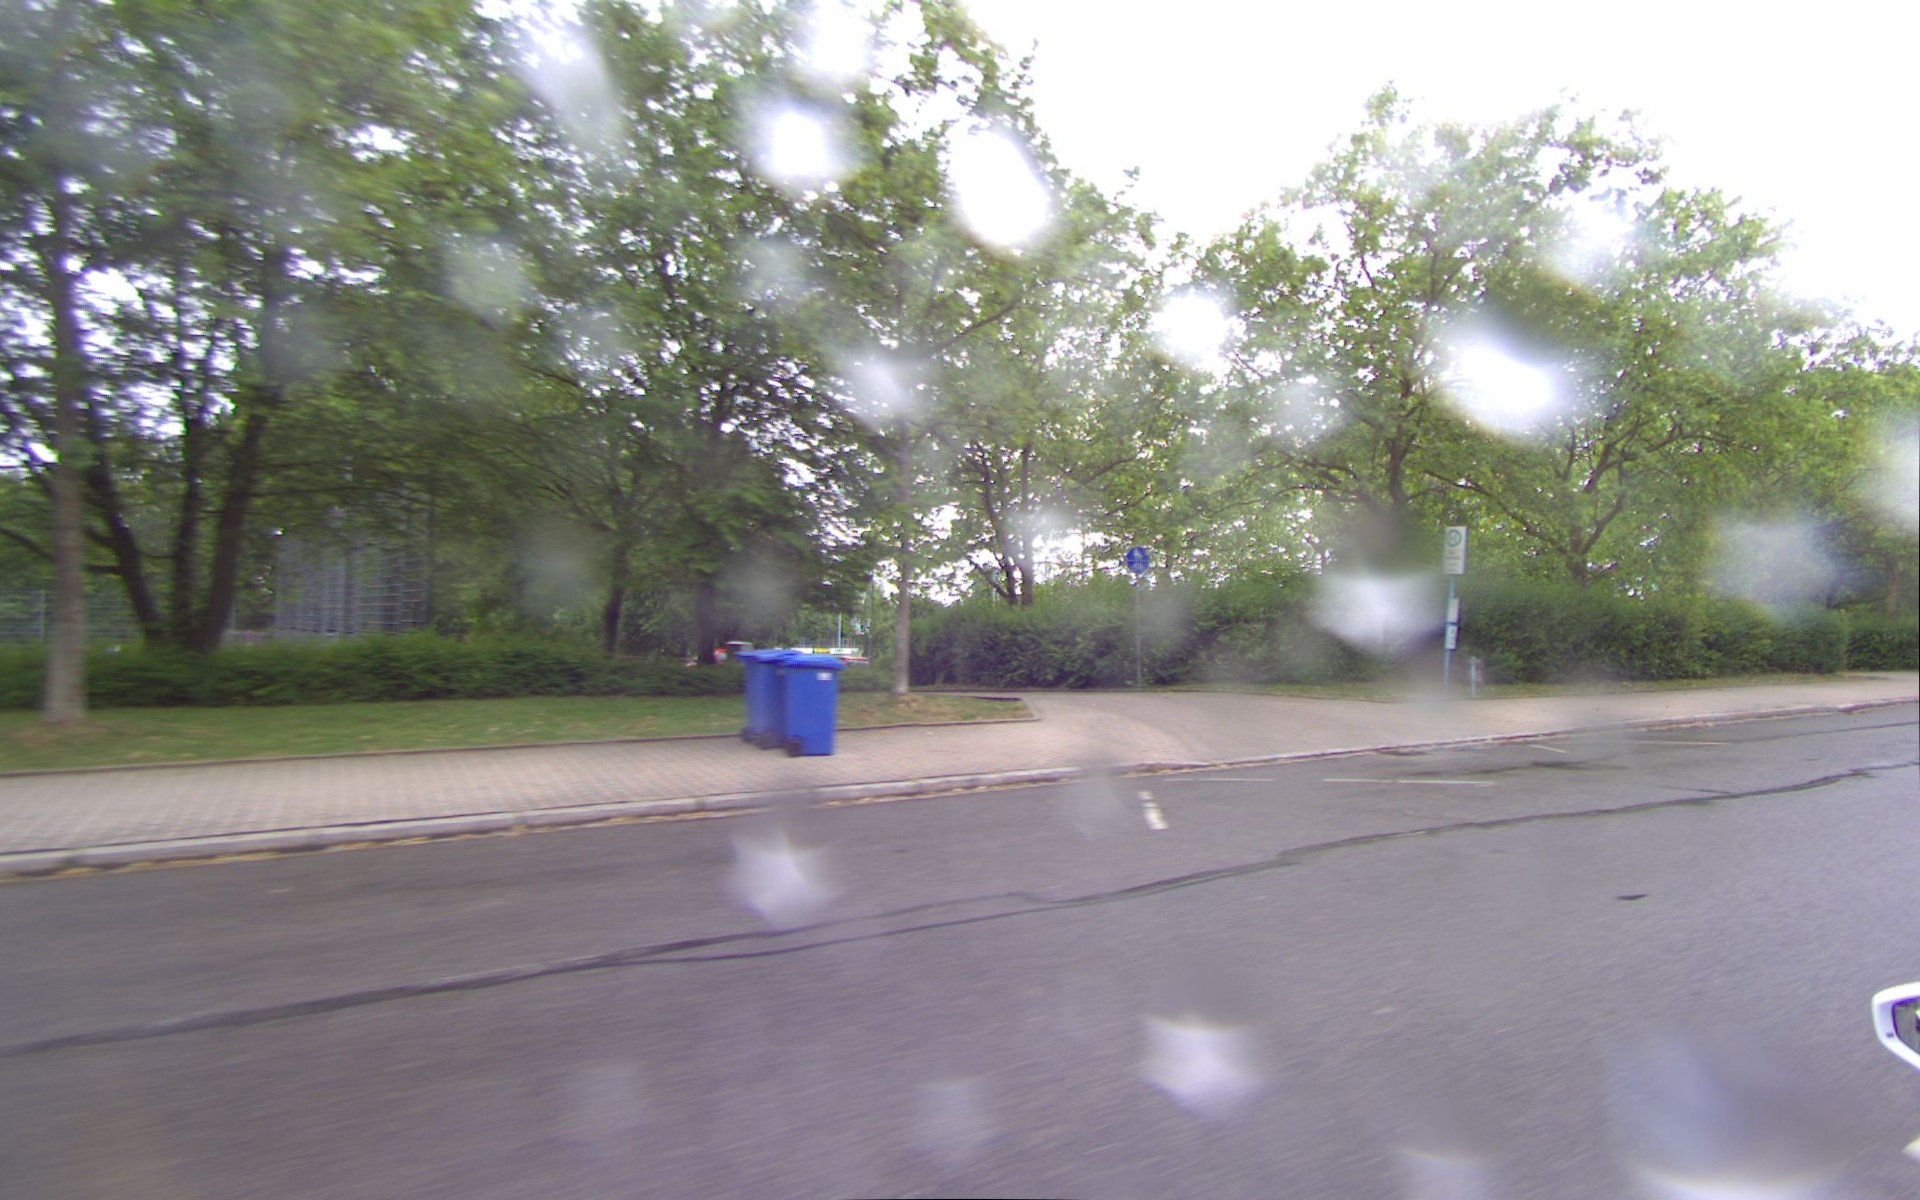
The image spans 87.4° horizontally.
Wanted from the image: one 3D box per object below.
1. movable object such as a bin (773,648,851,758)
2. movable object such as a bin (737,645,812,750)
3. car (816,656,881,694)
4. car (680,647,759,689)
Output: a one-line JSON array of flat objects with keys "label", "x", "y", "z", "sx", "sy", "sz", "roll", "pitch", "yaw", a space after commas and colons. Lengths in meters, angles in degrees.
[{"label": "movable object such as a bin", "x": -1.621, "y": 1.099, "z": 10.962, "sx": 0.663, "sy": 1.113, "sz": 0.564, "roll": 1, "pitch": 2, "yaw": -28}, {"label": "movable object such as a bin", "x": -2.106, "y": 1.085, "z": 11.378, "sx": 0.663, "sy": 1.113, "sz": 0.564, "roll": 1, "pitch": 2, "yaw": -28}, {"label": "car", "x": -5.042, "y": 3.361, "z": 45.183, "sx": 1.775, "sy": 1.529, "sz": 3.979, "roll": 5, "pitch": -5, "yaw": -23}, {"label": "car", "x": -9.780, "y": 2.741, "z": 40.676, "sx": 1.782, "sy": 1.529, "sz": 3.963, "roll": 6, "pitch": -6, "yaw": -34}]
